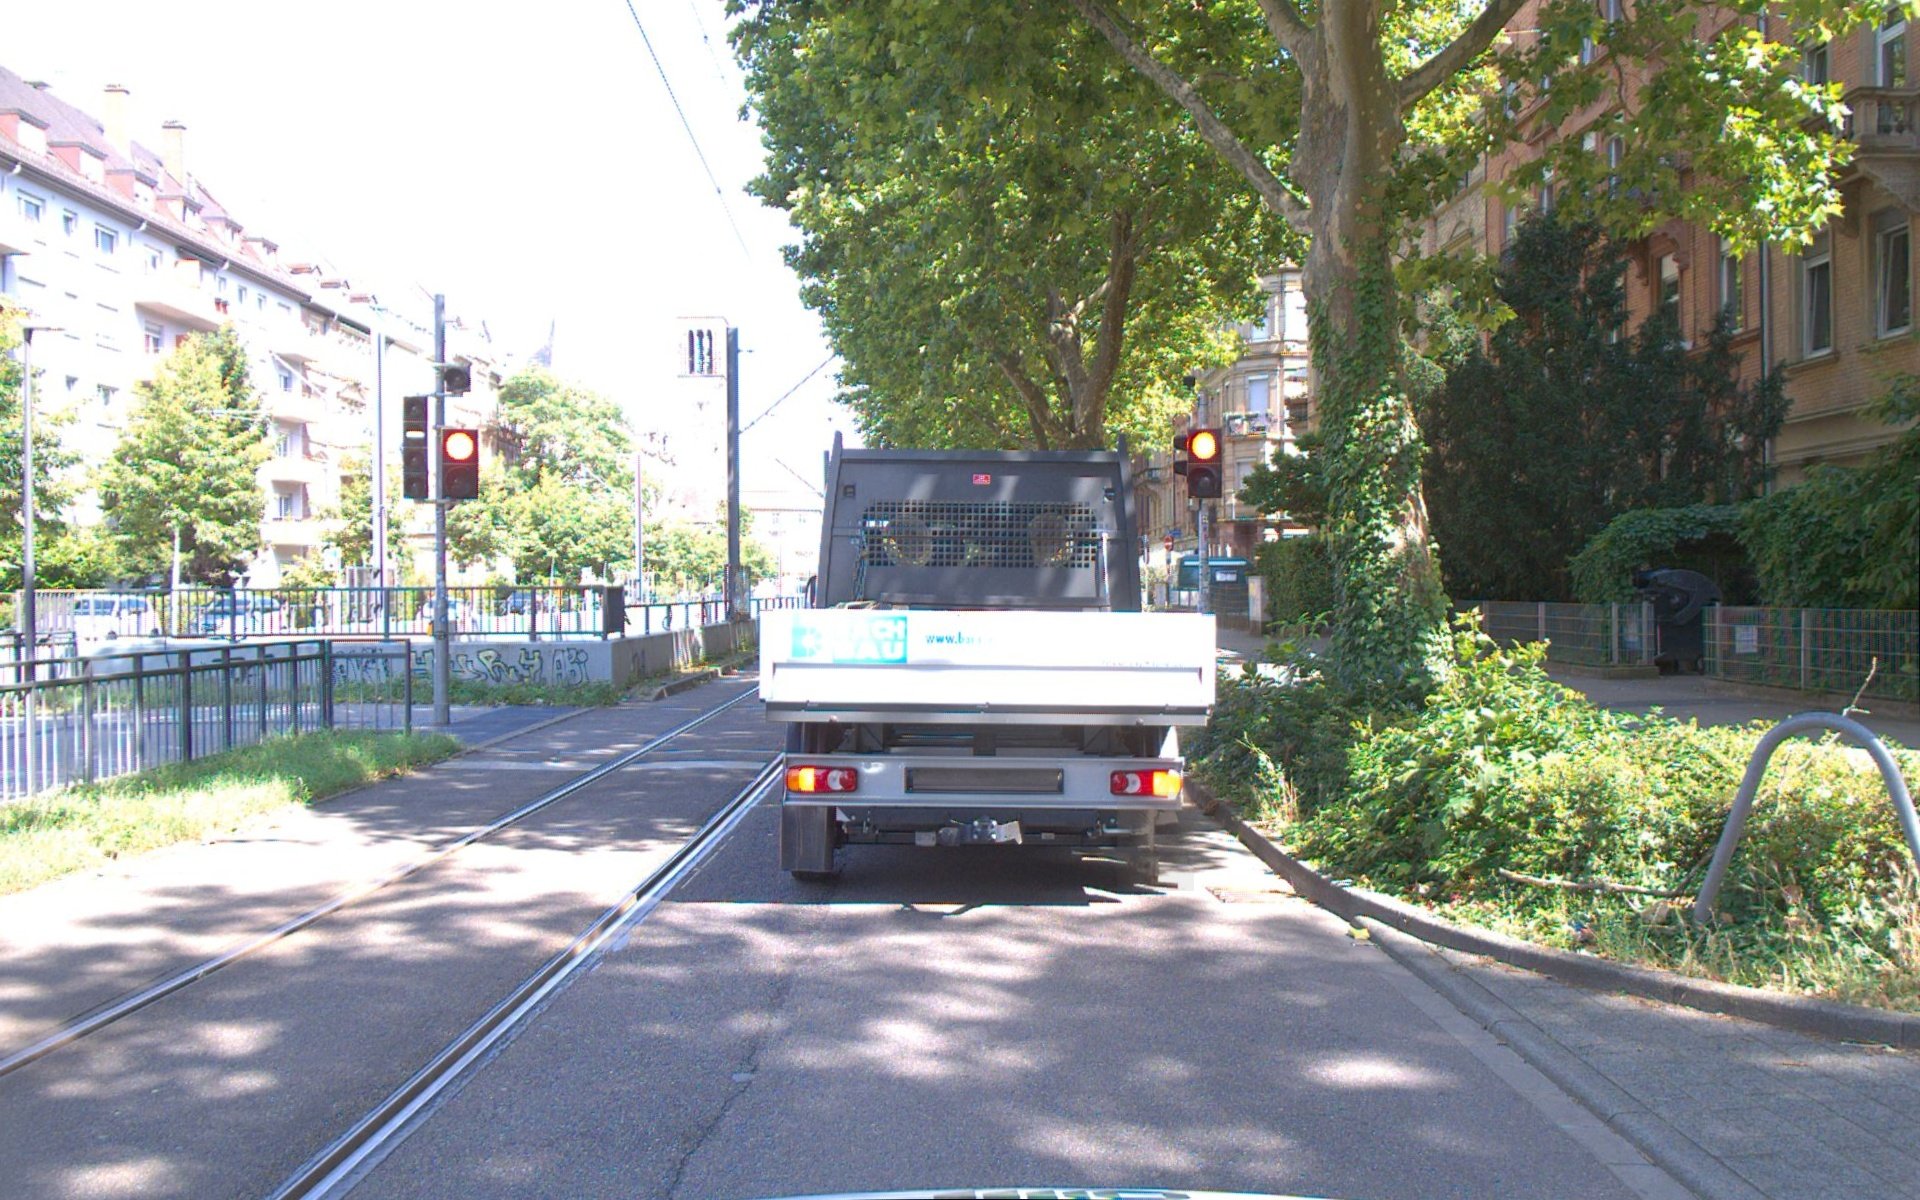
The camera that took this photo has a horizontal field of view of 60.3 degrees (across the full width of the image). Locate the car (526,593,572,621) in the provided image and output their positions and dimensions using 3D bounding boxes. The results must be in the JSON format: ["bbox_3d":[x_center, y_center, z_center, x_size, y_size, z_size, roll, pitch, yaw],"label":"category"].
[{"bbox_3d":[-23.245,0.372,93.708,1.735,1.524,3.998,-1,0,-2],"label":"car"}]

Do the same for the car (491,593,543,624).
[{"bbox_3d":[-22.960,0.415,85.875,1.735,1.524,3.998,-1,0,-2],"label":"car"}]

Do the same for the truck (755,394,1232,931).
[{"bbox_3d":[0.152,0.259,9.468,2.094,2.359,4.401,0,0,0],"label":"truck"}]

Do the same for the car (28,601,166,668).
[{"bbox_3d":[-21.993,0.844,42.306,1.737,1.524,3.994,-2,1,-6],"label":"car"}]

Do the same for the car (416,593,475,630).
[{"bbox_3d":[-22.464,0.489,72.351,1.736,1.524,3.994,-1,0,-6],"label":"car"}]

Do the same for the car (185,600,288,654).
[{"bbox_3d":[-22.179,0.797,50.883,1.737,1.524,3.994,-2,1,-6],"label":"car"}]
